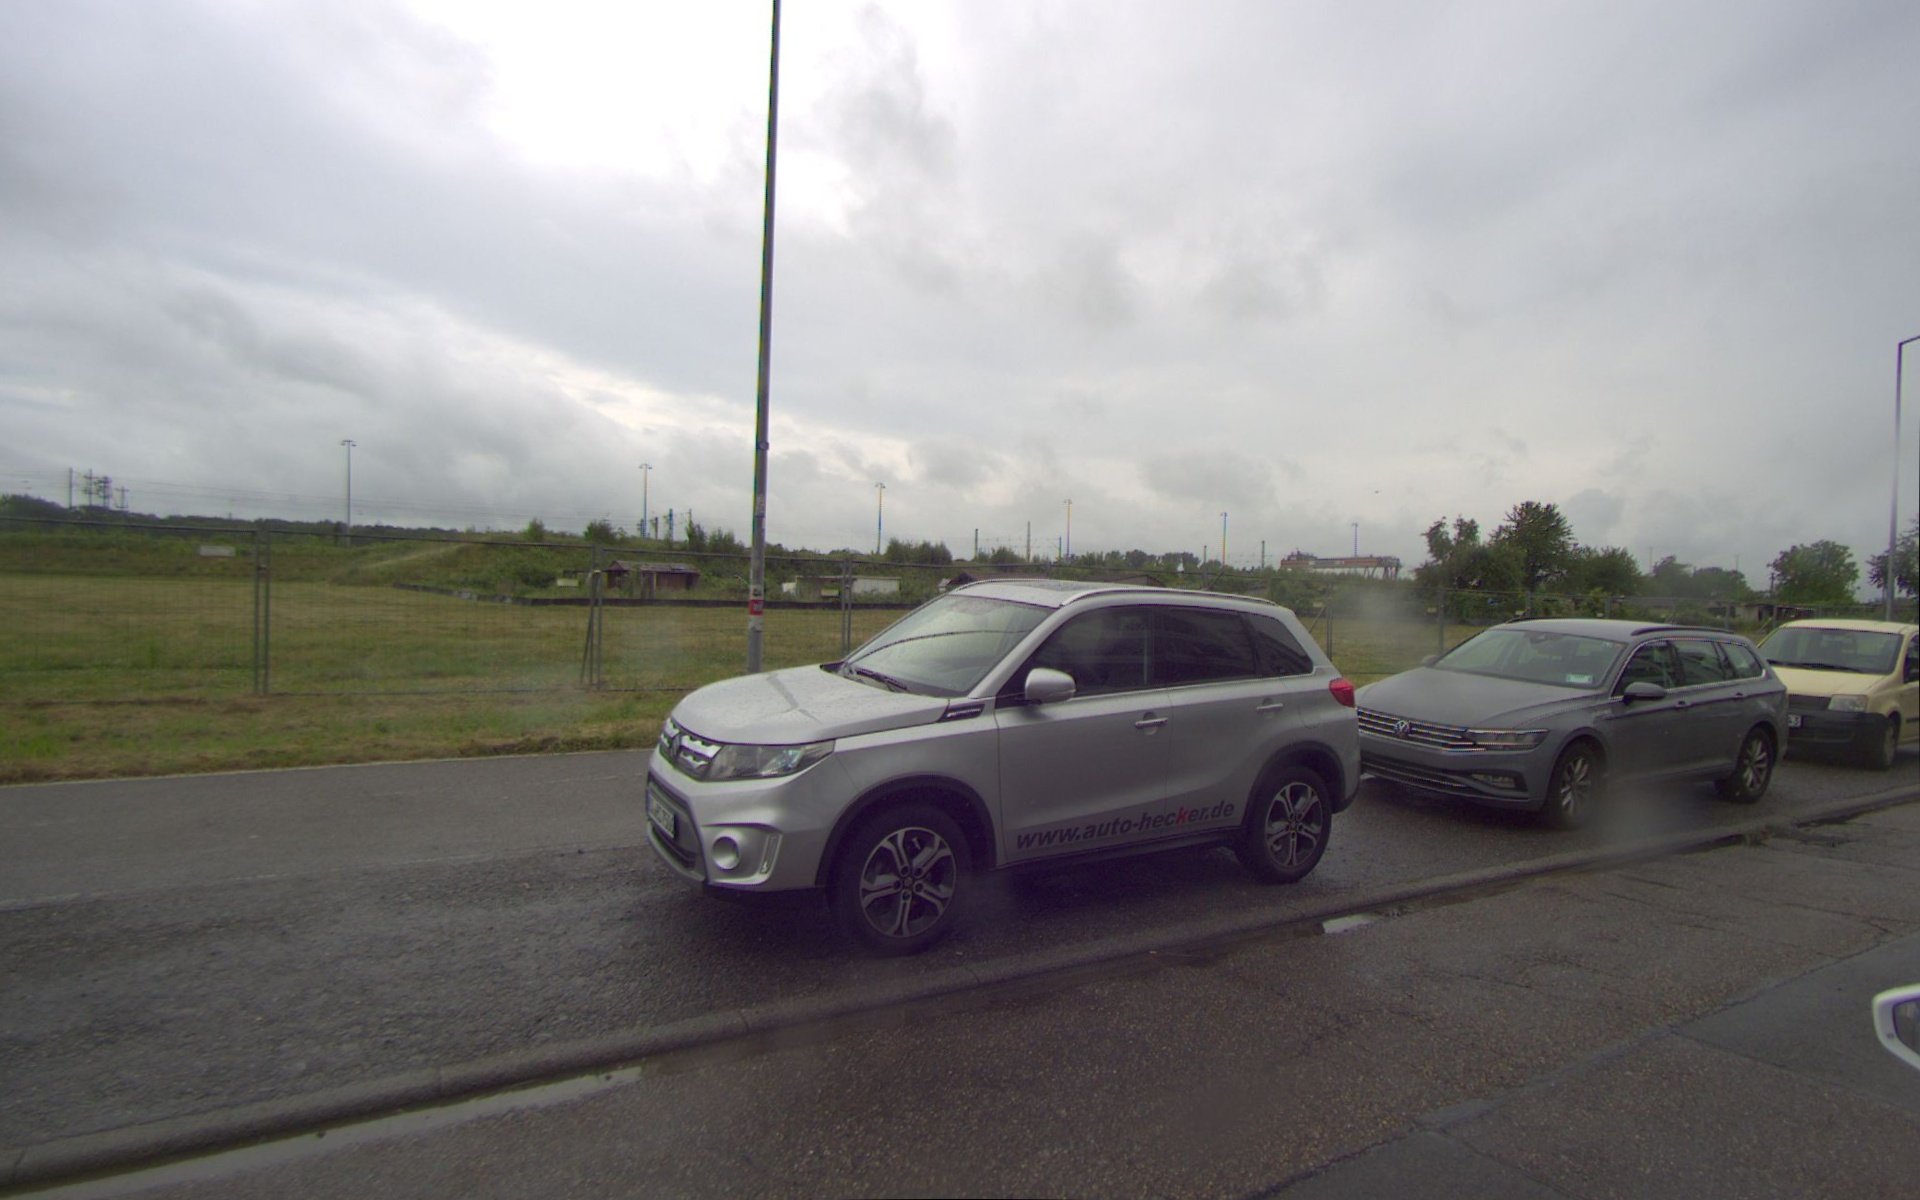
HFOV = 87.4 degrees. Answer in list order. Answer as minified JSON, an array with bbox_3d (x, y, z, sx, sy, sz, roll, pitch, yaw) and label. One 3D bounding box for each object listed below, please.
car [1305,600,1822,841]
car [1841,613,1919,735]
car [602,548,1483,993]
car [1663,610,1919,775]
[{"bbox_3d":[5.375,0.895,8.798,4.616,1.549,1.828,2,2,-30],"label":"car"},{"bbox_3d":[14.752,1.055,14.576,4.085,1.611,1.744,1,1,-31],"label":"car"},{"bbox_3d":[0.687,0.659,5.846,4.933,1.629,1.842,1,3,-32],"label":"car"},{"bbox_3d":[10.267,0.993,11.852,4.164,1.596,1.715,2,0,-32],"label":"car"}]
